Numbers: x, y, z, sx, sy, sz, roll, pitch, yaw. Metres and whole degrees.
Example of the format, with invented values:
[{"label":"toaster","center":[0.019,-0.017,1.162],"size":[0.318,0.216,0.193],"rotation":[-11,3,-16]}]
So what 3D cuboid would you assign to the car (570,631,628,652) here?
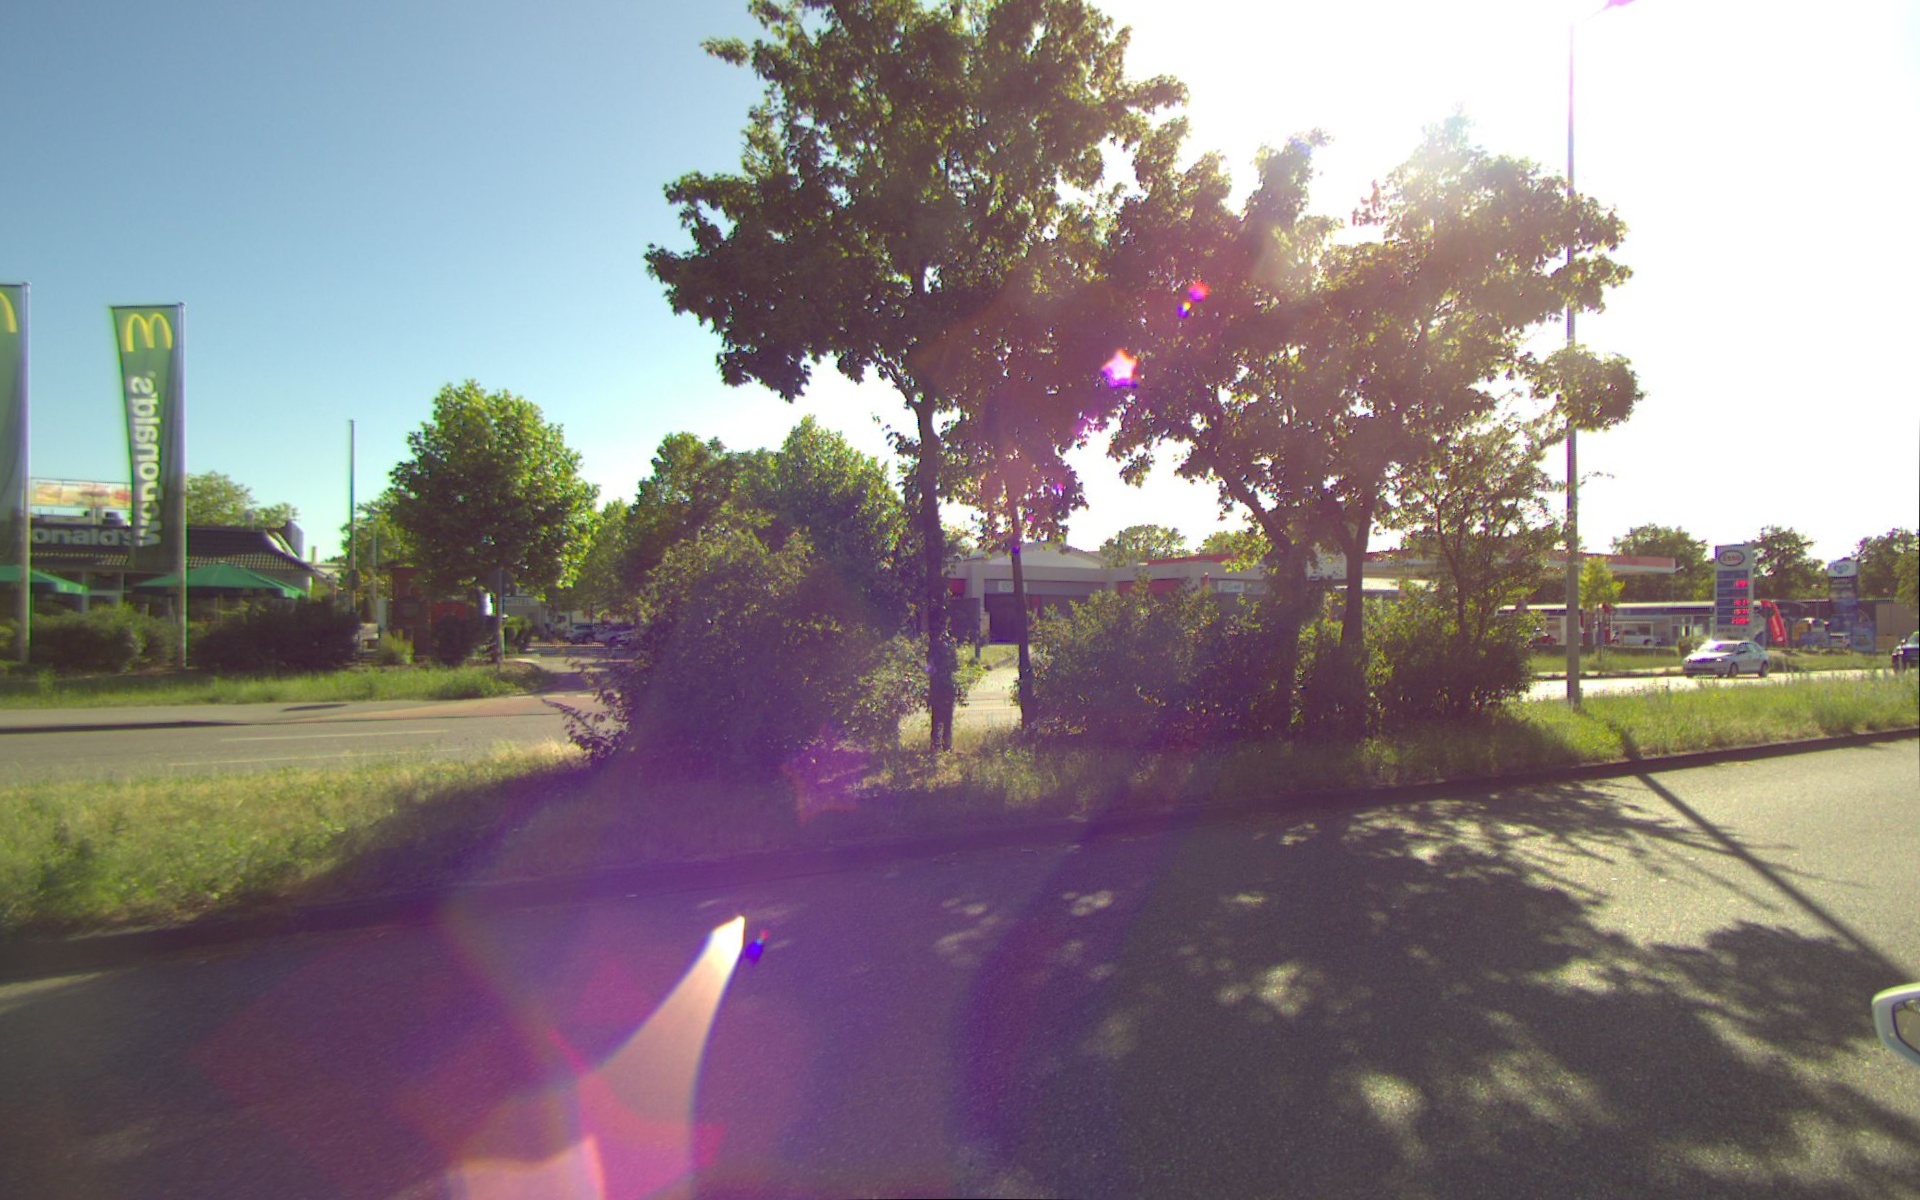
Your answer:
[{"label":"car","center":[-26.976,3.109,75.105],"size":[3.882,1.550,1.657],"rotation":[1,-2,-30]}]

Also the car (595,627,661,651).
[{"label":"car","center":[-21.996,2.583,66.587],"size":[3.882,1.550,1.657],"rotation":[1,-2,-30]}]

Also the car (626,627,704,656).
[{"label":"car","center":[-16.377,2.289,55.784],"size":[3.885,1.549,1.780],"rotation":[1,-1,-30]}]

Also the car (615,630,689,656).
[{"label":"car","center":[-18.151,2.505,59.253],"size":[3.885,1.472,1.780],"rotation":[1,-1,-30]}]

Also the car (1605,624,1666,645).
[{"label":"car","center":[63.485,3.204,94.466],"size":[1.978,1.867,4.361],"rotation":[1,-1,-32]}]

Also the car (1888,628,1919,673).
[{"label":"car","center":[41.984,2.150,43.134],"size":[4.615,1.825,1.732],"rotation":[1,-4,-30]}]

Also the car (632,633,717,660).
[{"label":"car","center":[-14.561,2.355,51.222],"size":[3.885,1.327,1.780],"rotation":[1,-1,-30]}]

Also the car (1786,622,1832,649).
[{"label":"car","center":[71.554,2.992,84.674],"size":[3.954,2.239,1.810],"rotation":[1,-2,-31]}]

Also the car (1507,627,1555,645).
[{"label":"car","center":[51.365,3.264,90.336],"size":[4.241,1.570,1.803],"rotation":[1,-1,-29]}]

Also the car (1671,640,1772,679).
[{"label":"car","center":[30.696,2.370,40.483],"size":[4.159,1.474,1.732],"rotation":[1,-4,-30]}]

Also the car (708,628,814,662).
[{"label":"car","center":[-8.157,1.828,41.227],"size":[3.885,1.327,1.780],"rotation":[1,-1,-30]}]

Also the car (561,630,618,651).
[{"label":"car","center":[-28.633,3.115,77.639],"size":[3.882,1.550,1.657],"rotation":[1,-2,-30]}]
